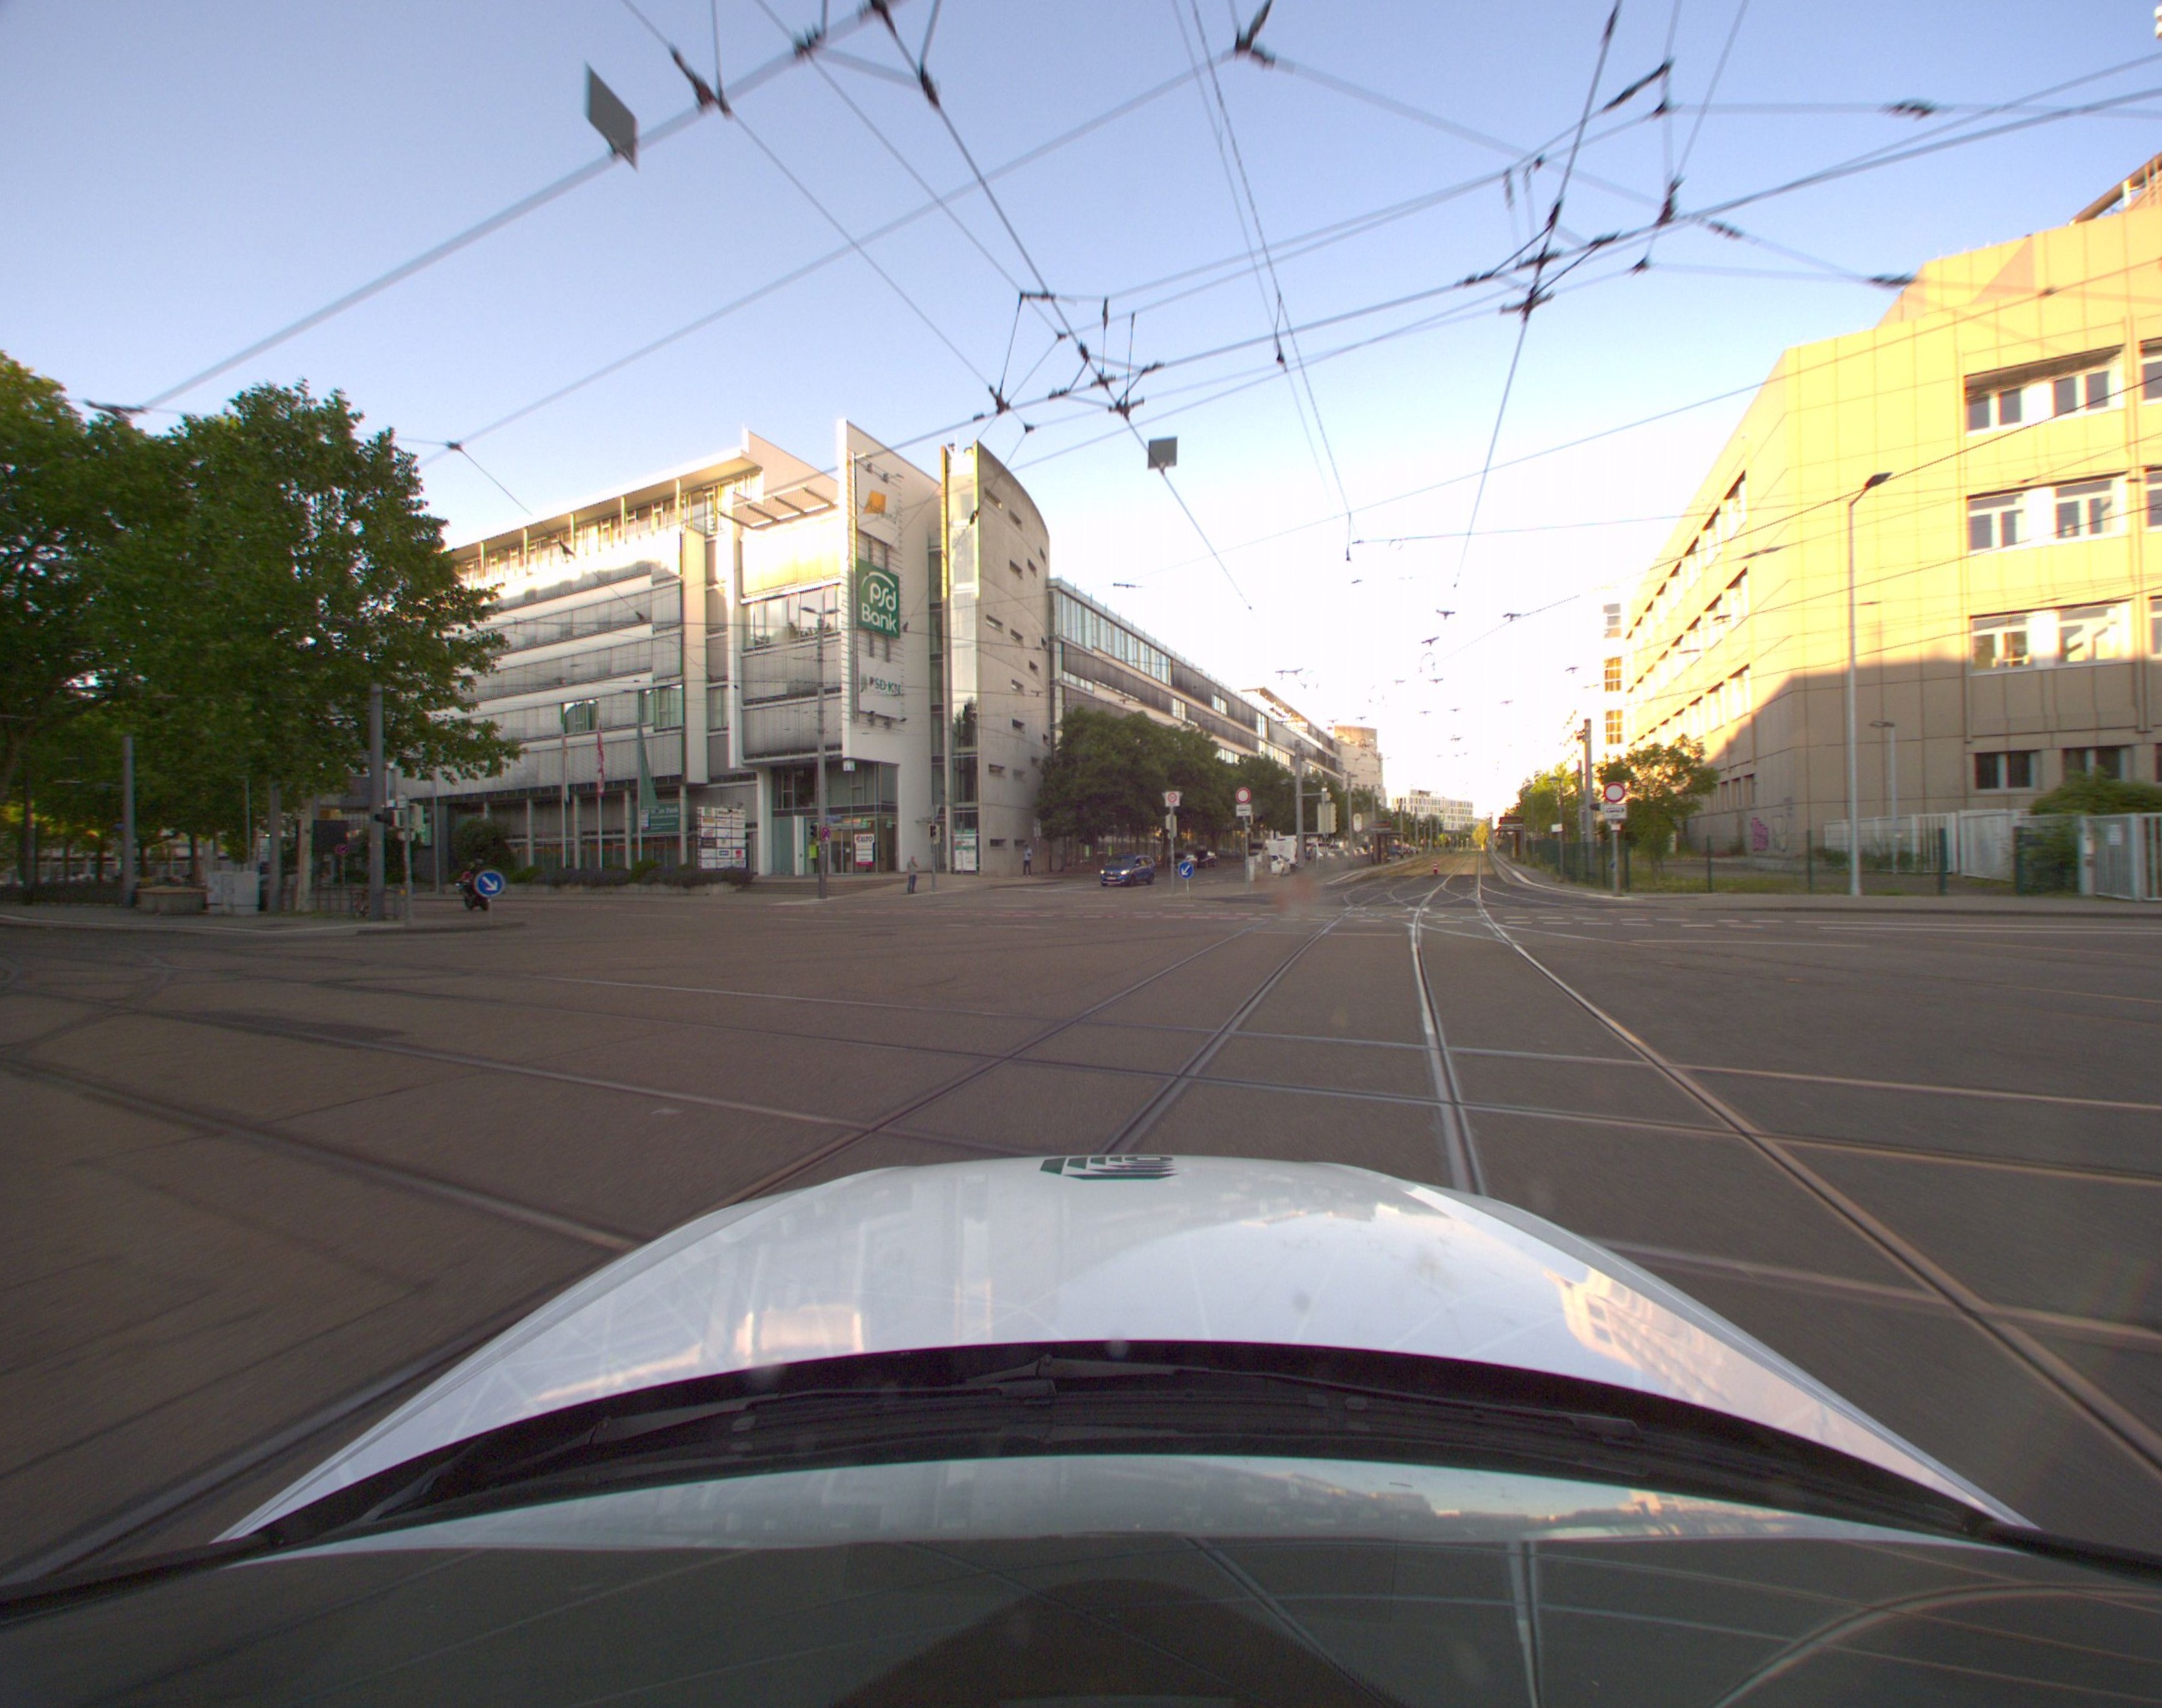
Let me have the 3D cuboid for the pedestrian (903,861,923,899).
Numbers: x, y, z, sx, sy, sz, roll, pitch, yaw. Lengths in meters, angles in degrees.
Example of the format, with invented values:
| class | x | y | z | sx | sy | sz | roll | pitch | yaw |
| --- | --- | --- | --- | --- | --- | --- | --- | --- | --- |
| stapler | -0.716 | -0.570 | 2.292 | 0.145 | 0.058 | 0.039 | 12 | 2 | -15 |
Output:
| class | x | y | z | sx | sy | sz | roll | pitch | yaw |
| --- | --- | --- | --- | --- | --- | --- | --- | --- | --- |
| pedestrian | -7.619 | 1.166 | 36.881 | 0.541 | 1.711 | 0.664 | -1 | 0 | 36 |

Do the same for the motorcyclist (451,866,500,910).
| class | x | y | z | sx | sy | sz | roll | pitch | yaw |
| --- | --- | --- | --- | --- | --- | --- | --- | --- | --- |
| motorcyclist | -20.884 | 1.174 | 28.091 | 1.192 | 1.473 | 0.835 | -1 | 0 | 22 |

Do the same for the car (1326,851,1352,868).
| class | x | y | z | sx | sy | sz | roll | pitch | yaw |
| --- | --- | --- | --- | --- | --- | --- | --- | --- | --- |
| car | 23.444 | 0.507 | 73.968 | 1.667 | 1.439 | 4.150 | -1 | 0 | 26 |

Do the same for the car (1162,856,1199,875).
| class | x | y | z | sx | sy | sz | roll | pitch | yaw |
| --- | --- | --- | --- | --- | --- | --- | --- | --- | --- |
| car | 8.369 | 0.948 | 68.121 | 1.667 | 1.501 | 4.264 | -1 | 0 | 27 |

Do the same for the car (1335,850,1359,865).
| class | x | y | z | sx | sy | sz | roll | pitch | yaw |
| --- | --- | --- | --- | --- | --- | --- | --- | --- | --- |
| car | 26.645 | 0.348 | 81.492 | 1.667 | 1.439 | 4.150 | -1 | 0 | 26 |

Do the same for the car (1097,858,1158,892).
| class | x | y | z | sx | sy | sz | roll | pitch | yaw |
| --- | --- | --- | --- | --- | --- | --- | --- | --- | --- |
| car | 2.597 | 1.092 | 44.248 | 1.667 | 1.700 | 4.265 | -1 | 0 | 28 |

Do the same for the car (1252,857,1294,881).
| class | x | y | z | sx | sy | sz | roll | pitch | yaw |
| --- | --- | --- | --- | --- | --- | --- | --- | --- | --- |
| car | 12.137 | 0.913 | 51.299 | 1.667 | 1.439 | 4.150 | -1 | 0 | 26 |

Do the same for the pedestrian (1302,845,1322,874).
| class | x | y | z | sx | sy | sz | roll | pitch | yaw |
| --- | --- | --- | --- | --- | --- | --- | --- | --- | --- |
| pedestrian | 16.161 | 0.388 | 56.970 | 1.037 | 2.030 | 0.984 | -1 | 0 | -2 |

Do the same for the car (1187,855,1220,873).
| class | x | y | z | sx | sy | sz | roll | pitch | yaw |
| --- | --- | --- | --- | --- | --- | --- | --- | --- | --- |
| car | 11.080 | 0.861 | 73.621 | 1.667 | 1.501 | 4.264 | -1 | 0 | 27 |

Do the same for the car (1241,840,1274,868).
| class | x | y | z | sx | sy | sz | roll | pitch | yaw |
| --- | --- | --- | --- | --- | --- | --- | --- | --- | --- |
| car | 20.307 | -0.040 | 93.437 | 2.181 | 3.152 | 6.179 | -1 | 0 | 27 |

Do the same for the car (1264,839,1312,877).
| class | x | y | z | sx | sy | sz | roll | pitch | yaw |
| --- | --- | --- | --- | --- | --- | --- | --- | --- | --- |
| car | 14.481 | 0.275 | 56.670 | 2.439 | 2.482 | 5.840 | -1 | 0 | 22 |

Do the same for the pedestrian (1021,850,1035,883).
| class | x | y | z | sx | sy | sz | roll | pitch | yaw |
| --- | --- | --- | --- | --- | --- | --- | --- | --- | --- |
| pedestrian | -3.206 | 0.751 | 49.077 | 0.657 | 1.922 | 0.550 | -2 | 0 | 15 |

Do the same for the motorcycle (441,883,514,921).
| class | x | y | z | sx | sy | sz | roll | pitch | yaw |
| --- | --- | --- | --- | --- | --- | --- | --- | --- | --- |
| motorcycle | -20.785 | 1.622 | 28.045 | 2.461 | 1.240 | 0.835 | -1 | 0 | 22 |

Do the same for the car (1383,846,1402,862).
| class | x | y | z | sx | sy | sz | roll | pitch | yaw |
| --- | --- | --- | --- | --- | --- | --- | --- | --- | --- |
| car | 38.761 | -0.021 | 101.352 | 1.975 | 2.013 | 4.023 | -1 | 0 | 24 |

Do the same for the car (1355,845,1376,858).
| class | x | y | z | sx | sy | sz | roll | pitch | yaw |
| --- | --- | --- | --- | --- | --- | --- | --- | --- | --- |
| car | 32.211 | -0.268 | 92.137 | 1.667 | 1.439 | 4.150 | -1 | 0 | 26 |
